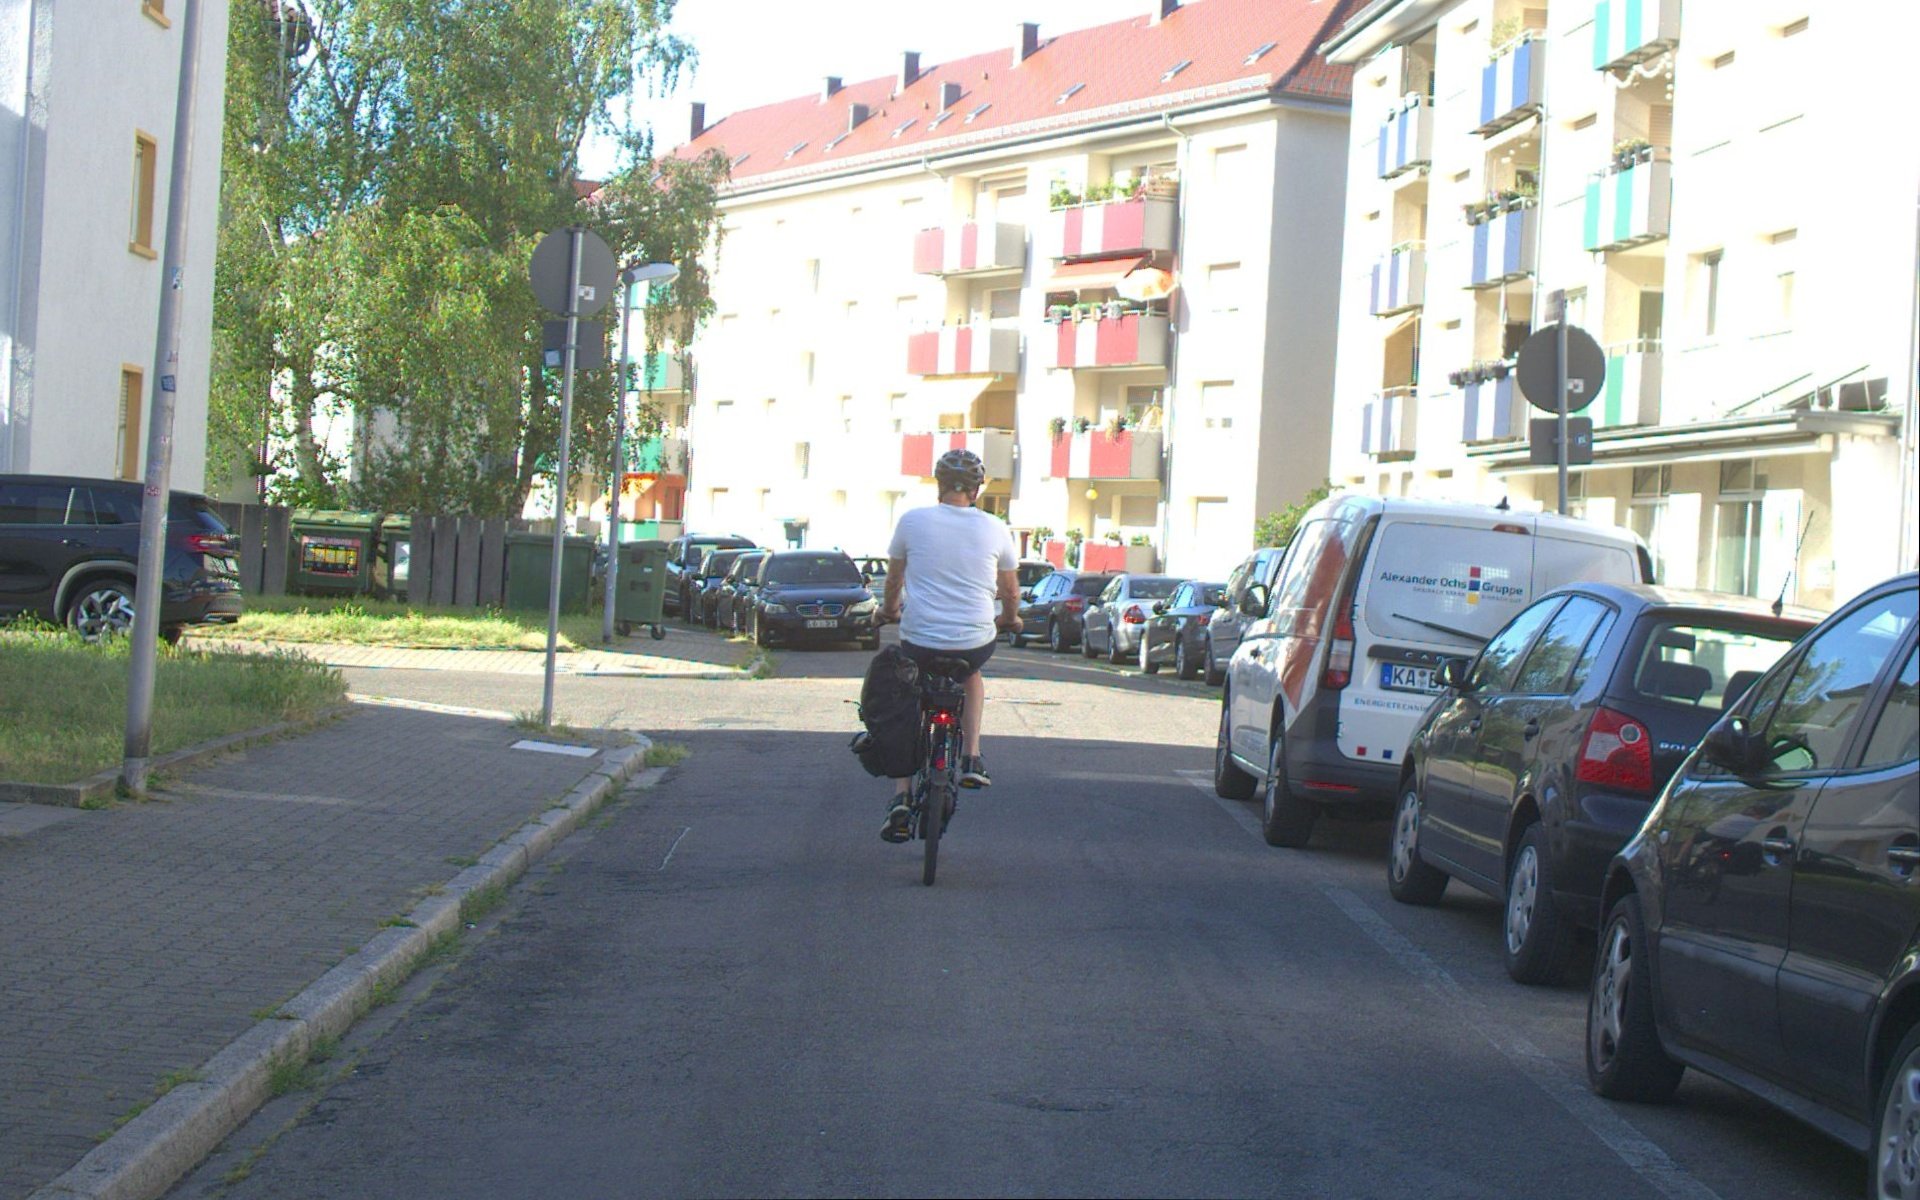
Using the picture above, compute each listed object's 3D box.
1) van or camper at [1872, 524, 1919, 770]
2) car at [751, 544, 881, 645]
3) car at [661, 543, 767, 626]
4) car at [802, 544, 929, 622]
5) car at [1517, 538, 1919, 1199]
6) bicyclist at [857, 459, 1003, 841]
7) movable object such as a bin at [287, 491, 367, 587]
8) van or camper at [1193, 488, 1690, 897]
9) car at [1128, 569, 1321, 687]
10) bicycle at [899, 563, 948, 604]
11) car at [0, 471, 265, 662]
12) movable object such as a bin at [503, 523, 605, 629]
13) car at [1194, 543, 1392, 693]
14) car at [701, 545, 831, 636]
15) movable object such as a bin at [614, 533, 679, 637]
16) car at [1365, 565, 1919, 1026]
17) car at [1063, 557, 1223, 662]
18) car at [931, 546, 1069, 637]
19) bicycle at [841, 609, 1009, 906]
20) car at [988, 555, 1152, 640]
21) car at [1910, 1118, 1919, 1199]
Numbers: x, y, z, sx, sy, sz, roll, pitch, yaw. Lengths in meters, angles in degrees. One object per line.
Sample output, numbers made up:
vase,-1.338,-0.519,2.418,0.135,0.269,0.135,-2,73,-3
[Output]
van or camper,10.555,0.535,28.865,5.123,2.006,2.000,3,2,-2
car,-2.211,-0.120,51.825,1.677,1.448,4.621,0,1,-6
car,-4.489,-0.303,62.293,1.555,1.437,3.969,0,1,-9
car,-2.247,-0.425,80.426,1.765,1.630,4.043,1,2,-20
car,2.684,0.719,8.395,1.617,1.545,3.612,6,1,-5
bicyclist,-0.118,0.202,14.620,0.596,1.573,0.907,0,0,1
movable object such as a bin,-9.744,-0.943,52.970,1.060,1.430,1.003,1,1,-3
van or camper,2.421,0.393,18.509,1.792,1.741,4.735,6,1,-1
car,3.712,0.360,49.051,1.677,1.402,4.547,4,1,-9
bicycle,-0.953,-0.442,89.709,0.617,0.975,1.896,0,3,-22
car,-8.959,-0.347,32.236,4.488,1.658,1.719,2,-1,-1
movable object such as a bin,-5.638,-0.332,47.758,1.220,1.375,0.767,4,0,2
car,4.188,0.186,43.776,1.746,1.818,4.132,0,1,-5
car,-3.247,-0.189,56.899,1.677,1.437,4.281,0,1,-9
movable object such as a bin,-4.328,-0.216,47.540,0.775,1.388,1.417,3,1,-3
car,2.708,0.646,13.344,1.572,1.412,3.789,4,1,-3
car,2.894,0.119,55.397,1.677,1.442,4.725,4,1,-7
car,0.753,-0.198,68.094,1.693,1.650,4.392,2,1,-13
bicycle,-0.127,0.635,14.692,0.627,1.111,1.816,2,2,1
car,1.930,-0.066,61.838,1.693,1.427,4.689,2,0,-14
car,2.543,0.862,3.737,1.628,1.445,3.953,6,2,-4
